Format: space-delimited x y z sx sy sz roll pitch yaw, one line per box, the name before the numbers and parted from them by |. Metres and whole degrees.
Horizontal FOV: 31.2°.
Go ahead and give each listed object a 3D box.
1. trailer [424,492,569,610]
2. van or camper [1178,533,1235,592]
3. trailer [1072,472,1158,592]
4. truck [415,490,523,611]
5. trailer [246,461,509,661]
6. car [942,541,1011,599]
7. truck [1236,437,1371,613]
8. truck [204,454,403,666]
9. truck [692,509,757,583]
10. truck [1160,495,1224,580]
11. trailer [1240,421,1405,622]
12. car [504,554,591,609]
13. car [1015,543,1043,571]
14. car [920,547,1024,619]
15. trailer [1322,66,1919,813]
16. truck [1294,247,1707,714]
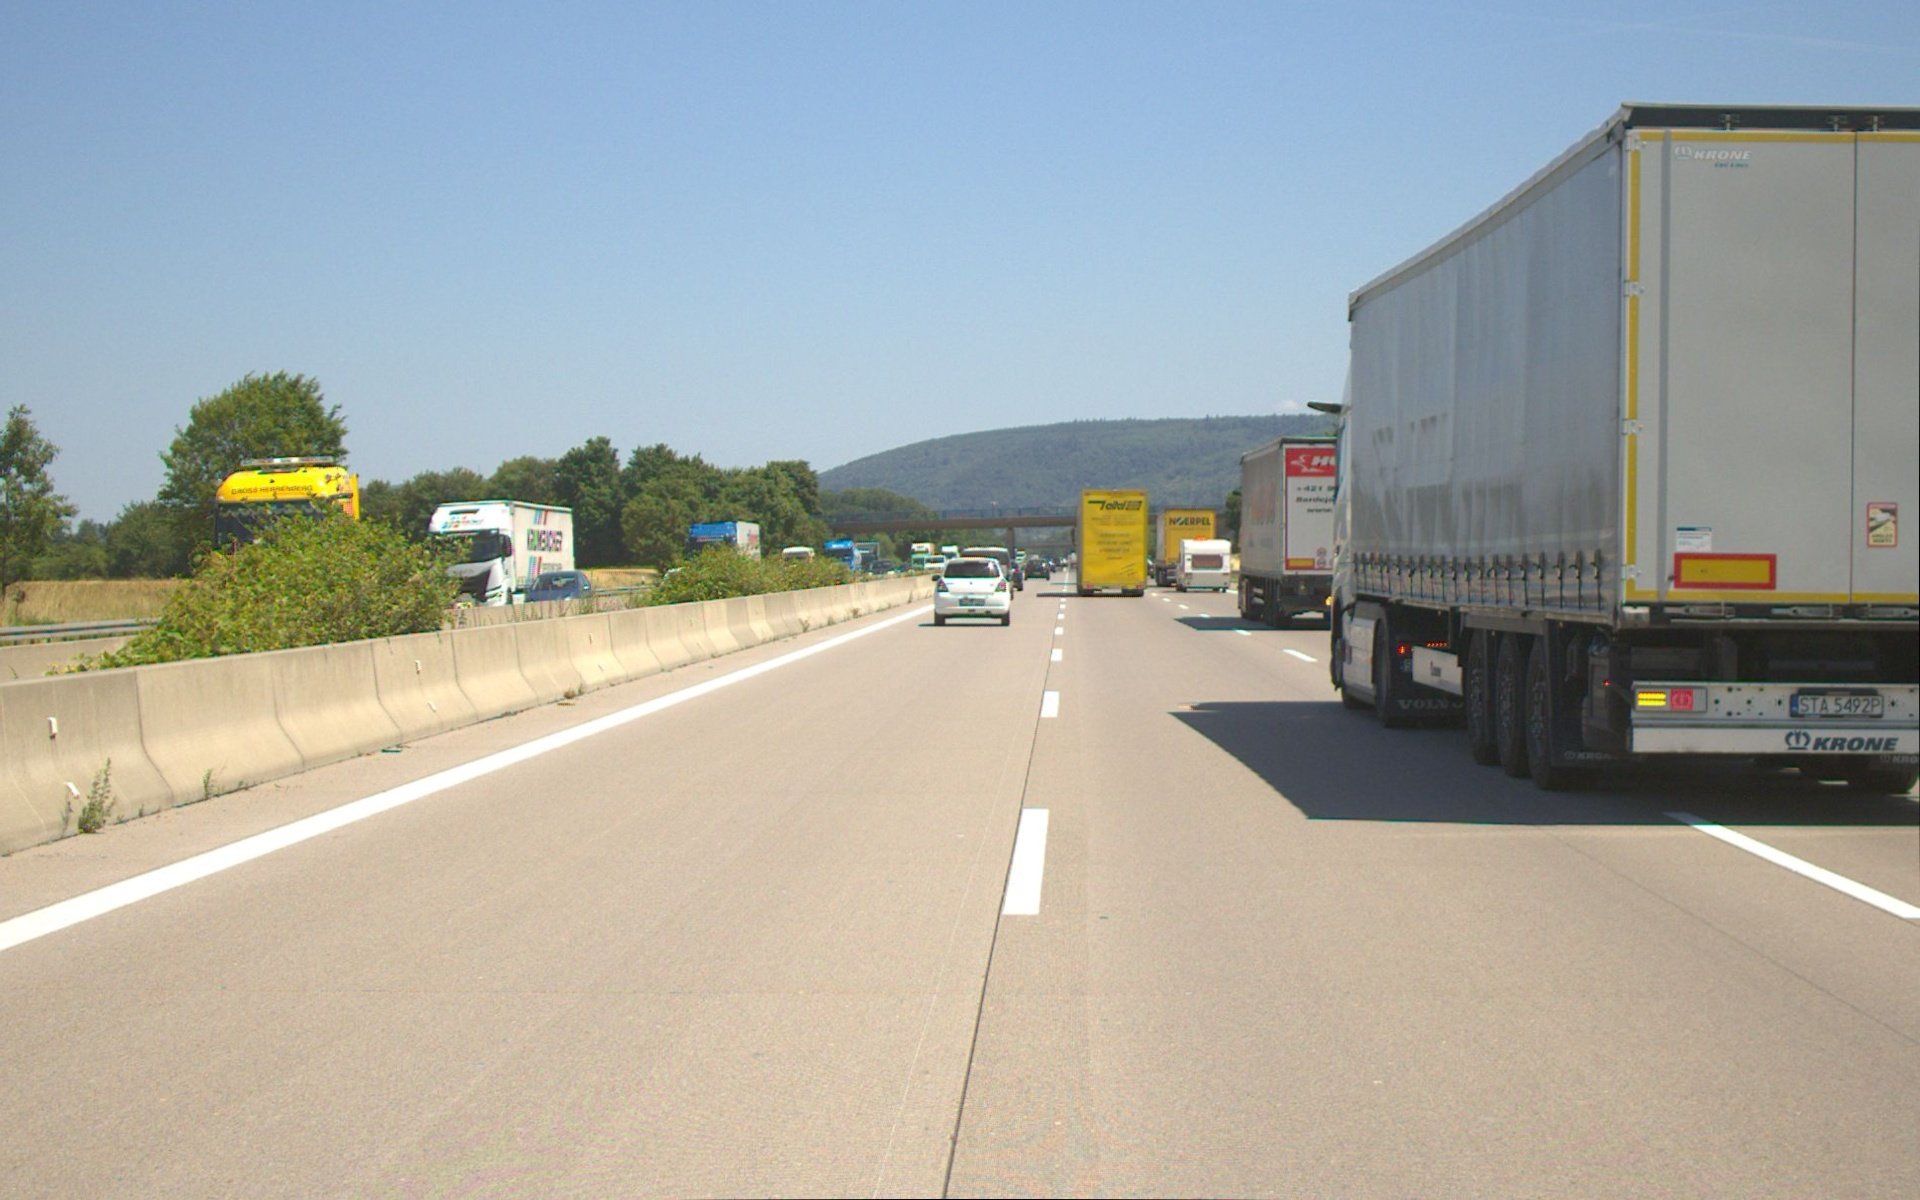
trailer | -15.852 -1.708 118.670 2.770 3.789 13.828 1 1 1
van or camper | 10.854 -1.674 151.518 2.224 2.522 5.431 1 1 2
trailer | 6.190 -2.686 138.084 3.216 4.548 13.456 1 1 2
truck | -16.019 -1.623 112.384 2.770 3.826 4.451 1 1 1
trailer | -12.828 -0.907 77.335 2.776 4.025 14.611 1 1 2
car | 0.599 -1.085 122.029 2.255 2.007 4.297 1 1 3
truck | 8.338 -1.810 84.075 2.906 4.086 6.271 1 1 3
truck | -13.125 -0.811 69.116 2.744 4.066 5.540 1 1 2
truck | -12.666 -2.907 185.235 2.897 3.850 5.685 1 1 1
truck | 12.096 -3.258 179.921 2.999 4.299 9.683 1 1 2
trailer | 8.013 -1.716 77.591 2.874 4.086 13.512 1 1 3
car | -12.430 -0.586 103.893 1.993 1.578 4.370 -1 1 1
car | 4.742 -2.965 236.417 1.784 1.875 4.000 1 1 2
car | 0.305 -0.406 77.114 2.107 1.530 4.122 1 1 3
trailer | 5.032 -0.973 25.864 3.018 4.047 14.207 1 1 0
truck | 4.994 -1.086 32.814 2.984 4.048 5.478 1 1 0
